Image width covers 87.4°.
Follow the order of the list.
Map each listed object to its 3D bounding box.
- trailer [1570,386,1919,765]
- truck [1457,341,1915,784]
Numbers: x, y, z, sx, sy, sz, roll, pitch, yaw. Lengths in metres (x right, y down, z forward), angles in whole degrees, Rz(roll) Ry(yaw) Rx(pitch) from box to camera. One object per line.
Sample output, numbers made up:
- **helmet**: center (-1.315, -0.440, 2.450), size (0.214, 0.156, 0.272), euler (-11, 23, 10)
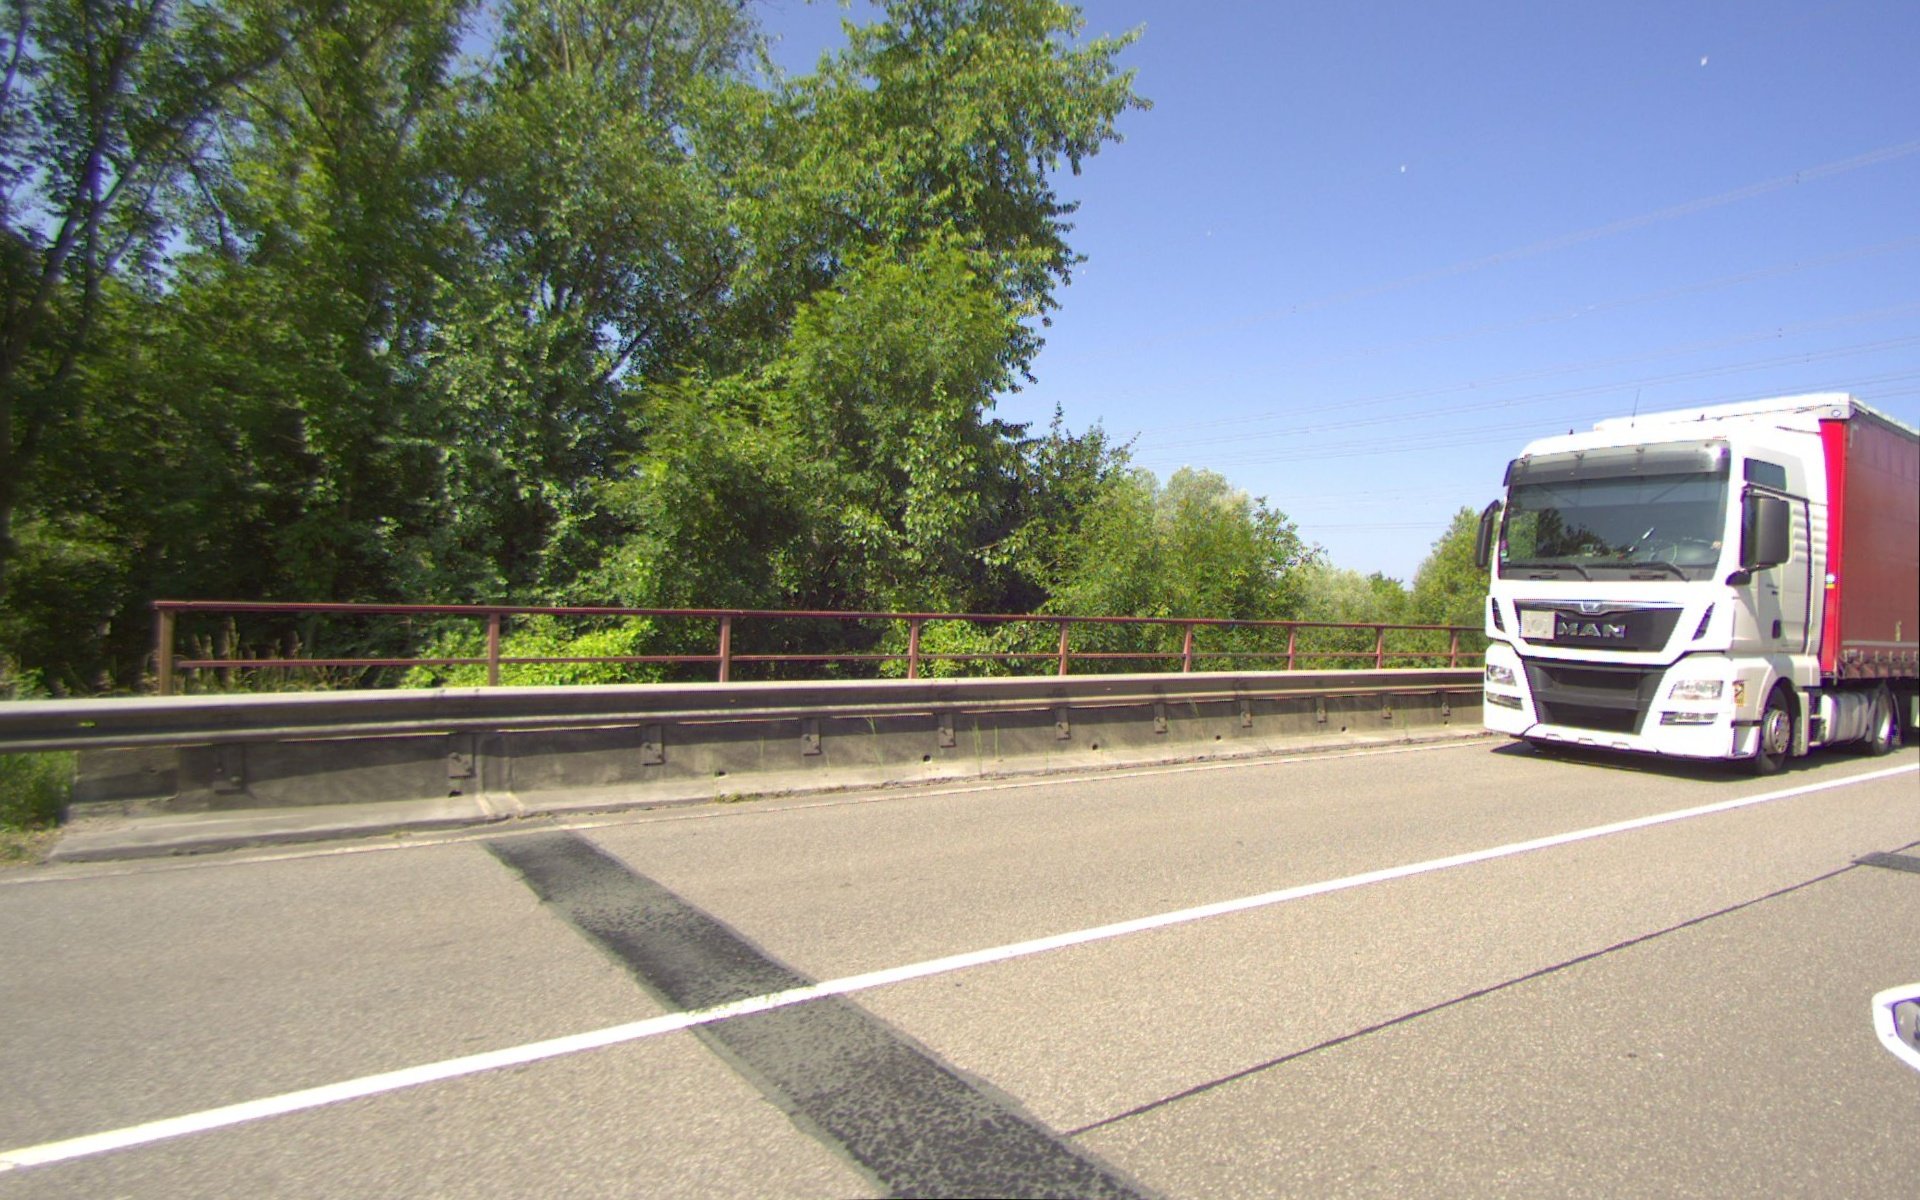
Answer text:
- **trailer**: center (14.500, -0.016, 16.118), size (14.061, 4.115, 2.750), euler (2, -2, -36)
- **truck**: center (8.861, -0.256, 12.075), size (5.798, 4.087, 2.750), euler (2, -1, -35)
